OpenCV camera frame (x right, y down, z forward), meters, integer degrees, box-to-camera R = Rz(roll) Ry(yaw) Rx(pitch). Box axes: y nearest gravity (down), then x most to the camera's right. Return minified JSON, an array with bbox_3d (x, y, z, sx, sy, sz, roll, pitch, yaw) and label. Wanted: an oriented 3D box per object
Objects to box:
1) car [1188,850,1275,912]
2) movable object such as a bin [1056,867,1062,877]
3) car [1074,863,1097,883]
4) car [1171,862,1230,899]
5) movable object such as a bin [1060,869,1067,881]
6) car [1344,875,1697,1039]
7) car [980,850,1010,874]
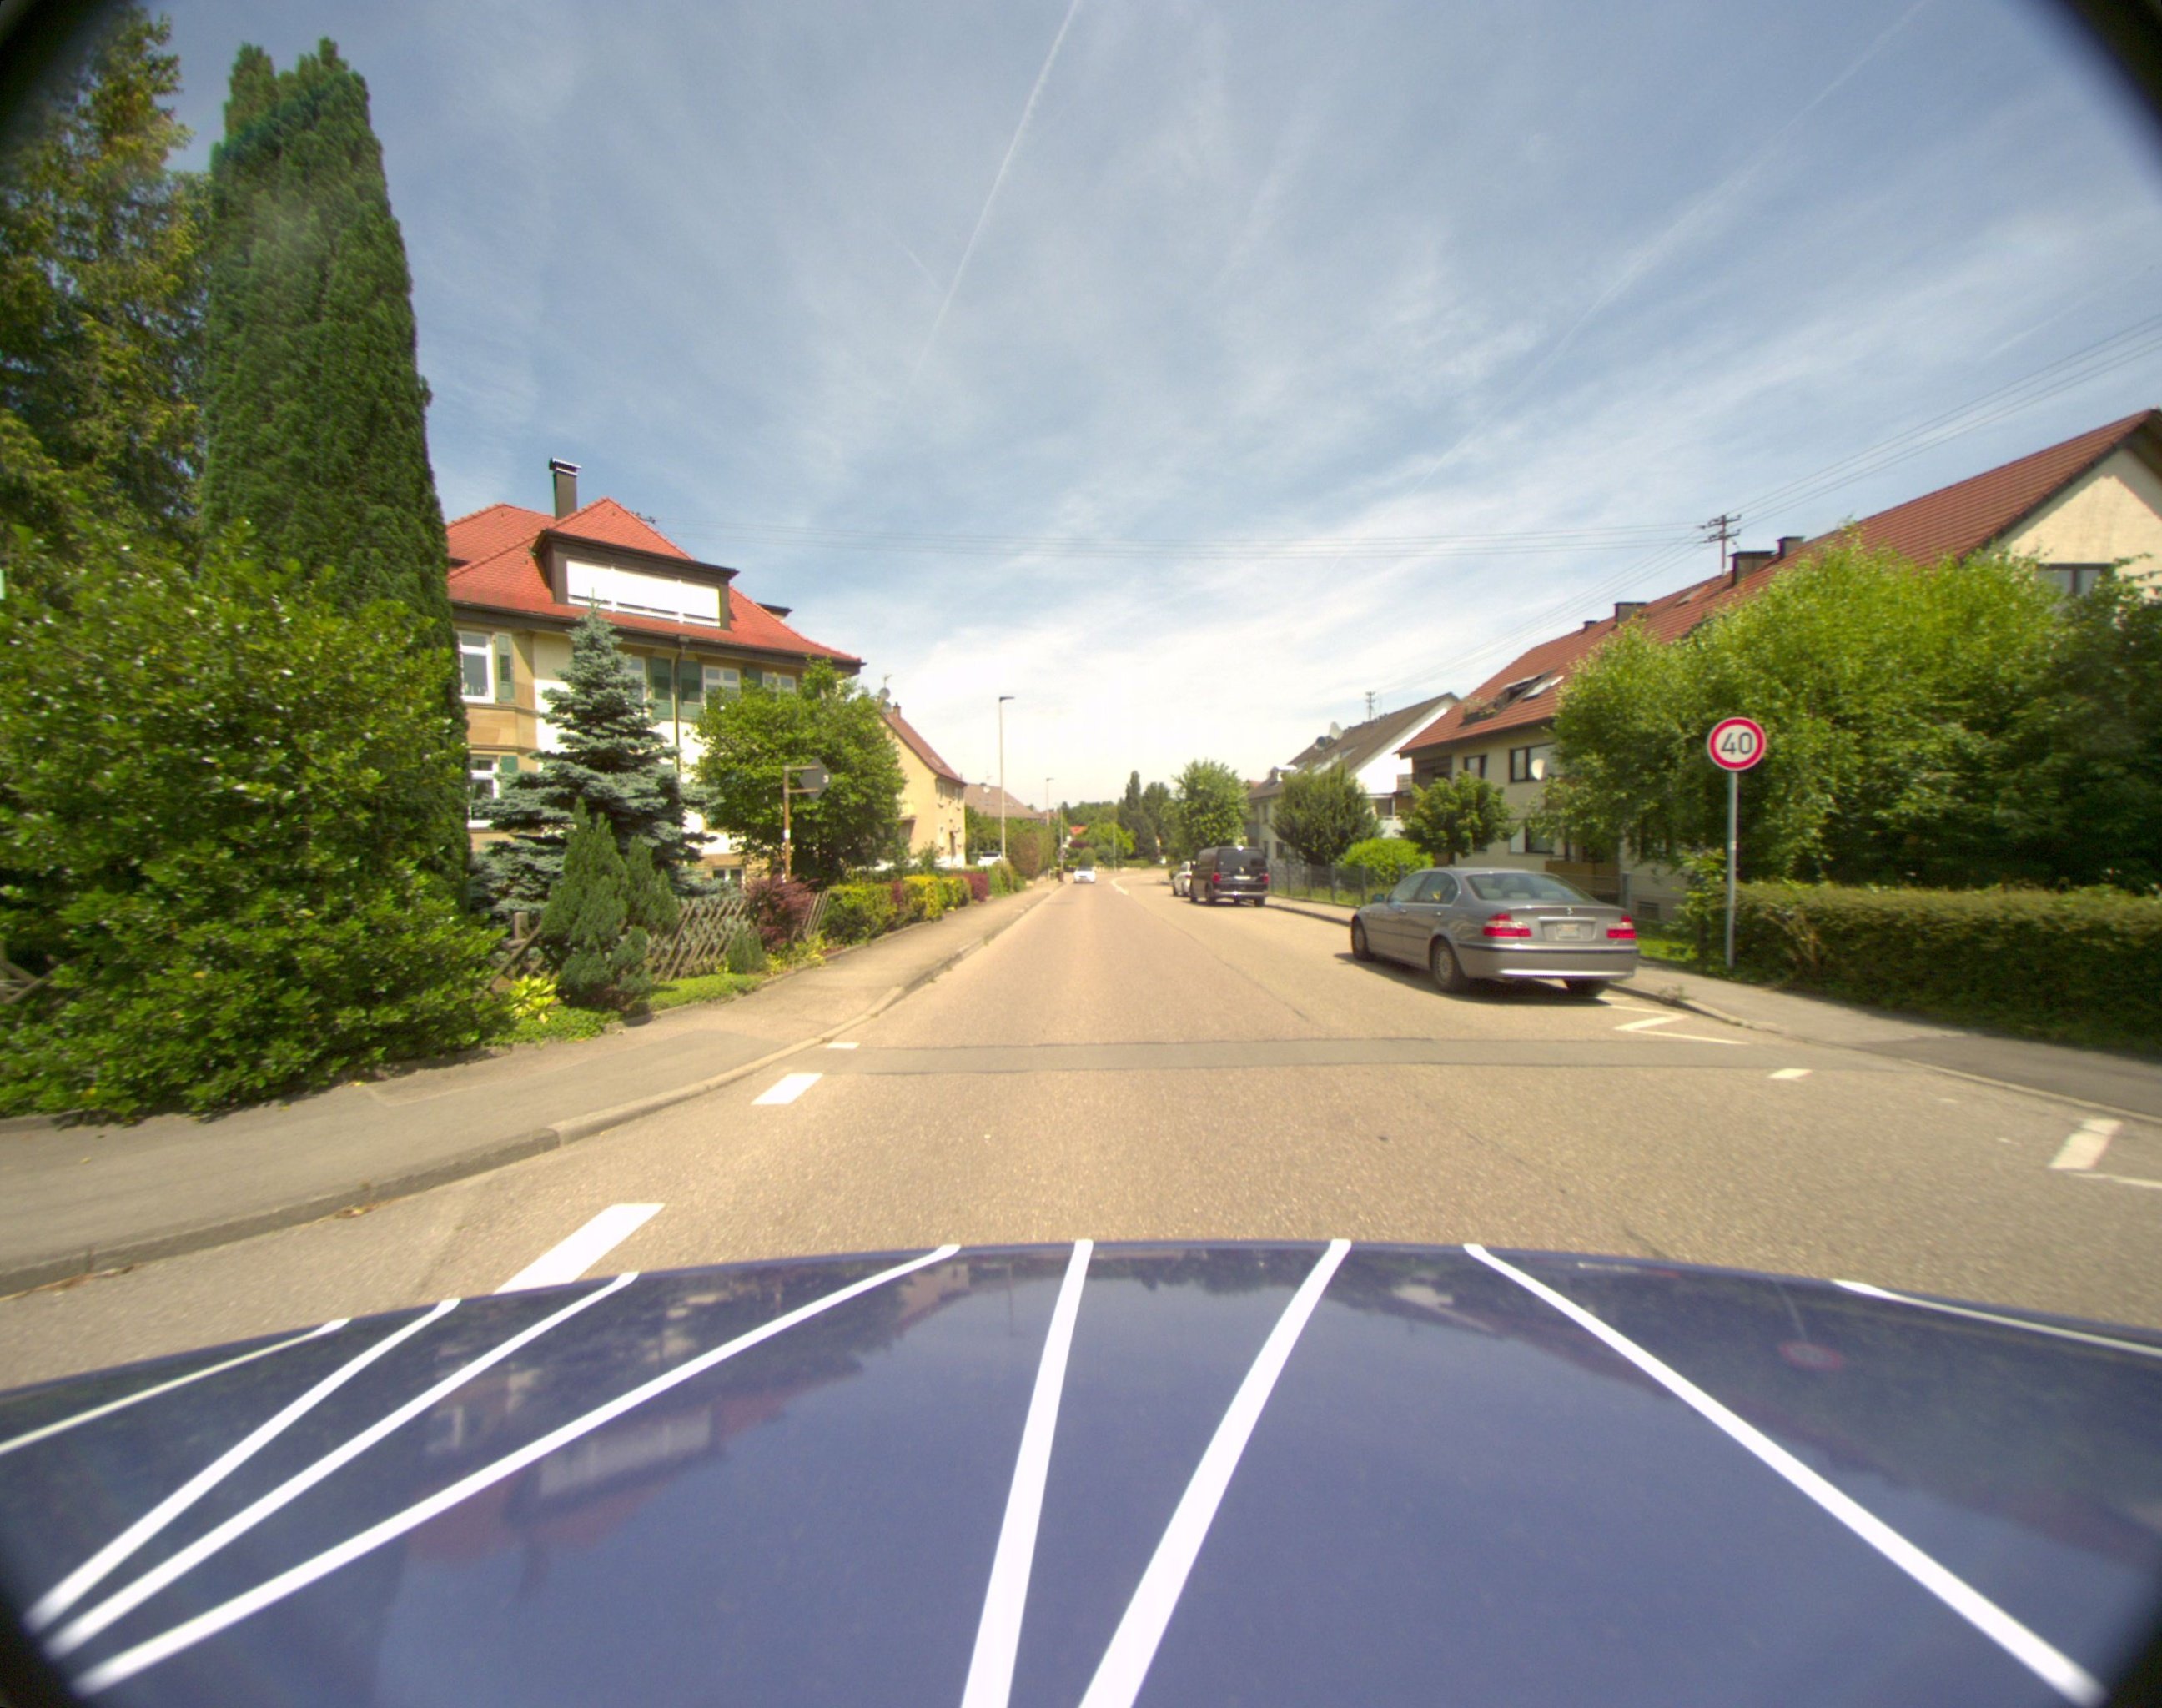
[{"bbox_3d":[5.082,0.883,26.286,1.901,1.908,4.870,1,-1,-2],"label":"car"},{"bbox_3d":[-2.357,1.955,81.073,0.589,1.052,0.920,0,0,3],"label":"movable object such as a bin"},{"bbox_3d":[0.396,1.610,65.611,1.827,1.543,3.999,-1,0,-2],"label":"car"},{"bbox_3d":[5.217,1.137,33.648,1.816,1.540,4.243,-1,-1,-1],"label":"car"},{"bbox_3d":[-1.479,1.773,64.545,0.590,0.972,0.786,1,0,0],"label":"movable object such as a bin"},{"bbox_3d":[4.837,1.019,9.256,1.784,1.386,4.409,0,0,1],"label":"car"},{"bbox_3d":[-6.053,0.530,53.739,1.609,1.474,3.557,-1,3,0],"label":"car"}]
